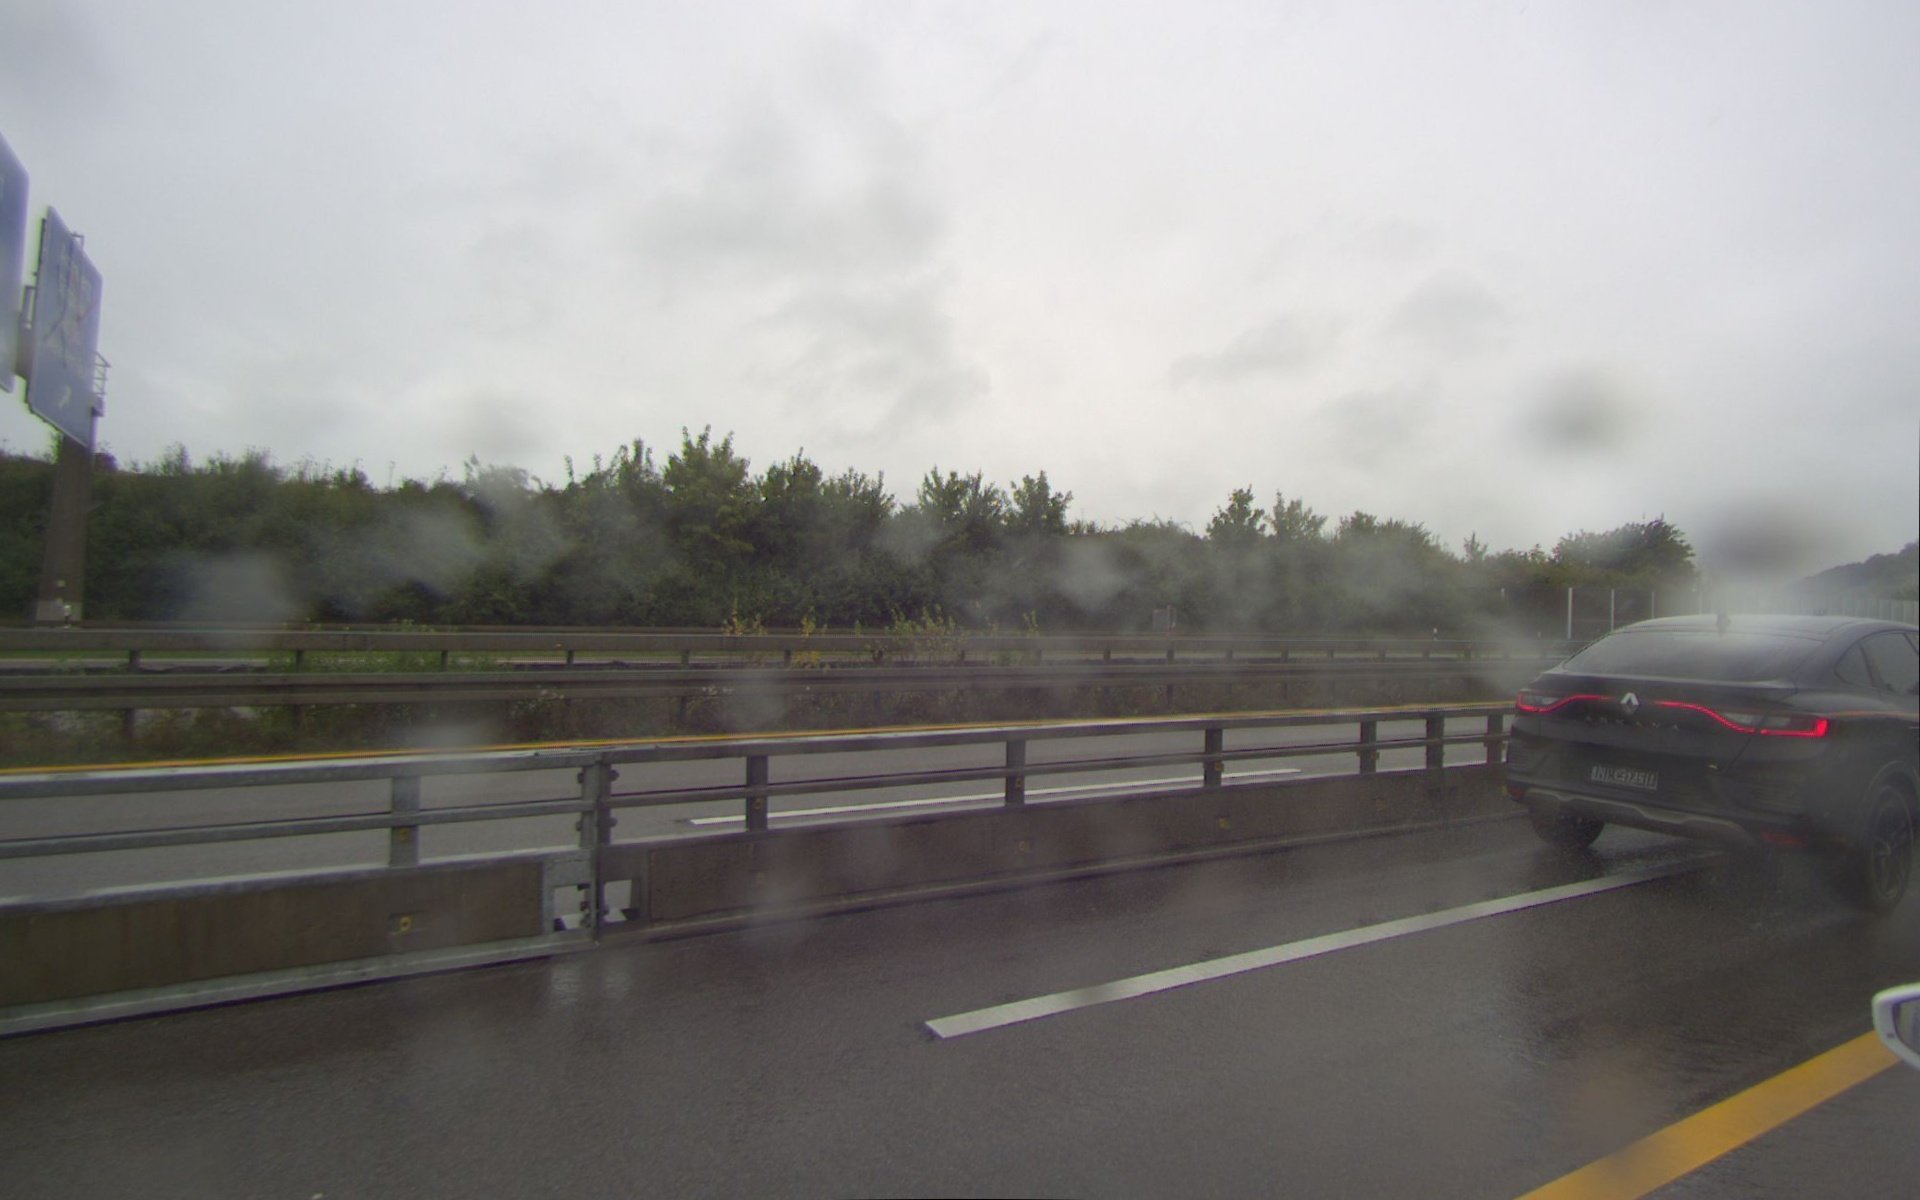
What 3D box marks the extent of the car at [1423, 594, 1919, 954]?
[{"bbox_3d":[5.281,0.854,6.529,4.363,1.606,1.983,2,0,-31],"label":"car"}]
